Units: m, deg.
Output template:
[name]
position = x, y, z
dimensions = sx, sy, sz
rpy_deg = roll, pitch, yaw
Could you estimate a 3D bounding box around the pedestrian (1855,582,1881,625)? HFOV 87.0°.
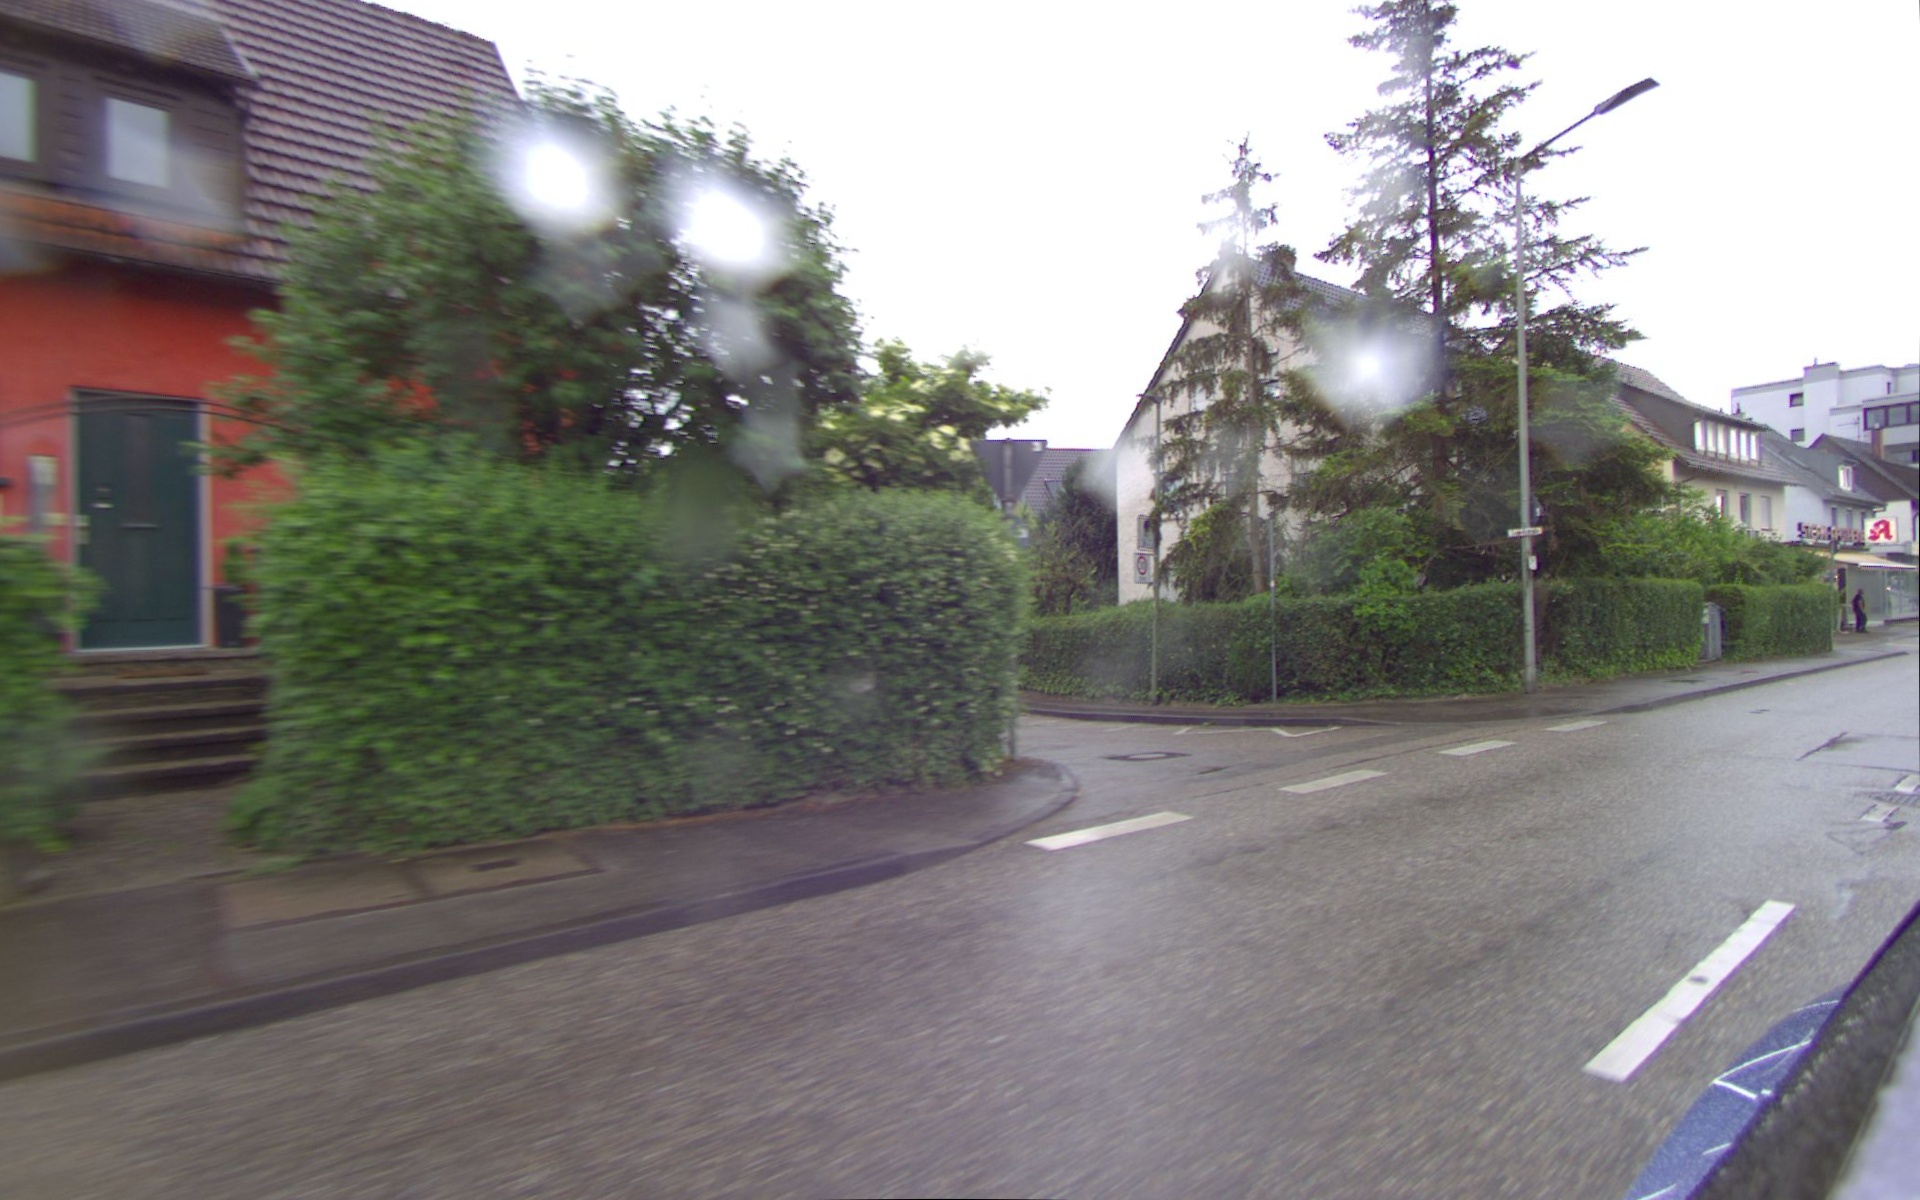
[pedestrian]
position = 35.130, 0.128, 39.149
dimensions = 0.610, 1.652, 0.695
rpy_deg = 0, -1, -42
